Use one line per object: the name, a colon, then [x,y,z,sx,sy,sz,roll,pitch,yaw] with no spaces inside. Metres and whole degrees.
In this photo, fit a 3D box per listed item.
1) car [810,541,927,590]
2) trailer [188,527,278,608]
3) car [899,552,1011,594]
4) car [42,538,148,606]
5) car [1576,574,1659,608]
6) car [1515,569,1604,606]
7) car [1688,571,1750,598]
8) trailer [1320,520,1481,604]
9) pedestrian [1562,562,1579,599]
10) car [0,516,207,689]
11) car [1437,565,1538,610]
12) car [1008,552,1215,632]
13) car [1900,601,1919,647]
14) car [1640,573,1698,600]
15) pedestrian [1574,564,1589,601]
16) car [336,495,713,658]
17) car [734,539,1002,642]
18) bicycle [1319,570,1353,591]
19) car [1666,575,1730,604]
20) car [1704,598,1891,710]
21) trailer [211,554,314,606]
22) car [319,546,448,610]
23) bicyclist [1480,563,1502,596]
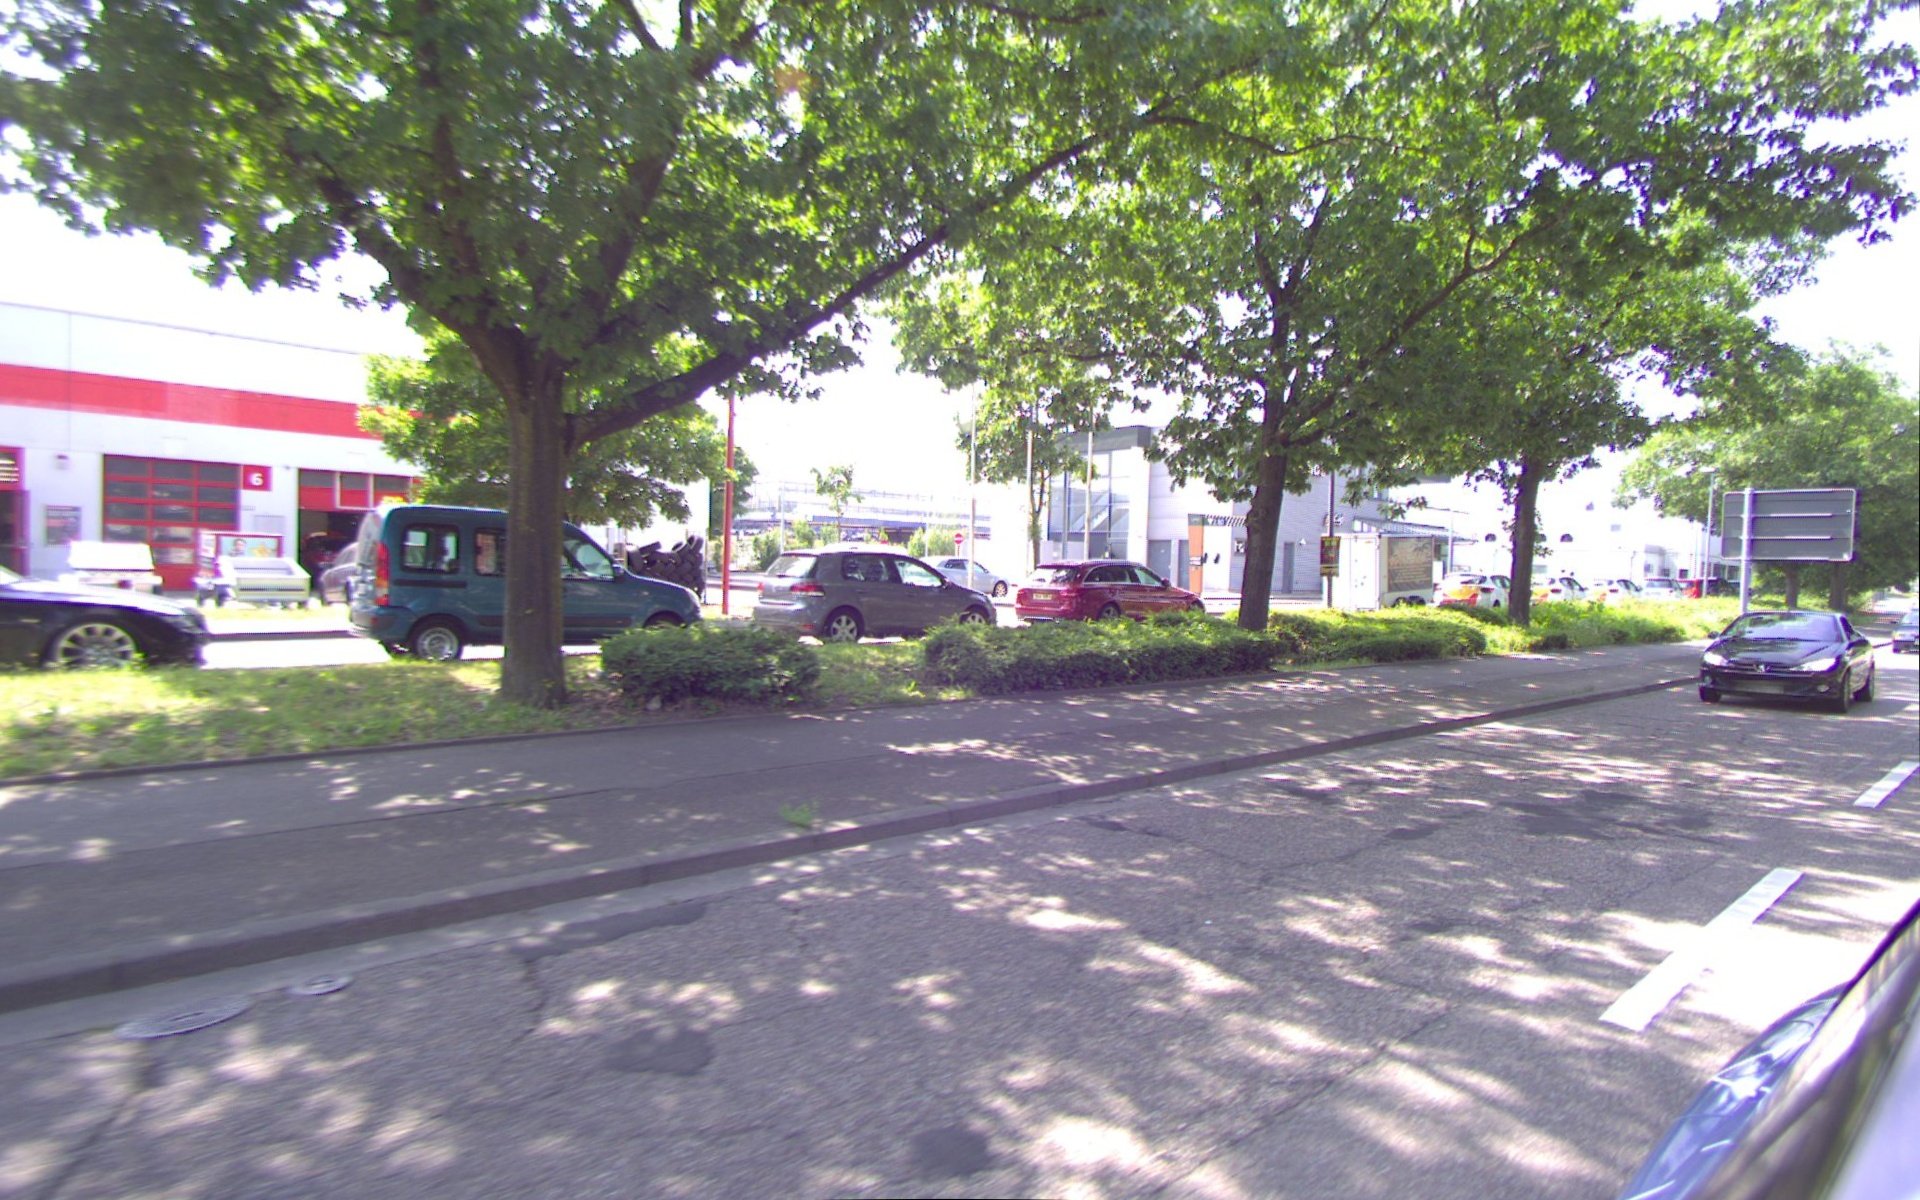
car: [-3.665,-1.367,40.892,4.551,1.827,1.713,0,3,-42]
trailer: [-15.680,-0.733,21.763,1.387,1.601,3.614,0,3,-39]
car: [-0.152,-0.929,34.846,3.710,1.356,1.586,0,3,-41]
car: [-17.006,-0.508,19.993,1.499,1.223,3.132,0,0,-39]
car: [26.248,-0.377,40.343,3.796,1.268,1.623,-1,2,-38]
car: [20.719,-0.455,34.940,3.674,1.172,1.596,-1,2,-42]
car: [37.512,-0.754,49.974,4.126,1.268,1.622,-1,1,-41]
trailer: [12.104,-0.978,27.622,5.384,2.080,1.705,0,2,-39]
pedestrian: [32.902,-1.060,54.552,0.402,1.944,0.582,0,2,-41]
car: [-9.231,-0.001,8.562,4.569,1.442,1.705,-1,2,-38]
car: [16.136,-0.411,30.894,3.569,1.268,1.621,-1,2,-43]
car: [3.051,-0.171,19.850,4.249,1.397,1.703,0,2,-42]
car: [29.730,0.768,30.658,1.706,1.341,3.895,0,-2,41]
car: [30.689,-0.600,43.808,2.808,1.136,1.509,-1,2,-43]
pedestrian: [33.220,-0.924,54.095,0.525,1.944,0.467,0,2,-41]
car: [-5.121,-0.298,12.154,3.837,1.657,1.704,-1,3,-41]
car: [-1.333,-0.160,15.589,3.838,1.397,1.703,0,2,-42]
bicycle: [18.560,-0.940,49.934,2.064,0.992,0.590,0,3,-40]
car: [33.882,-0.518,46.435,3.699,1.268,1.621,-1,2,-42]
car: [12.474,0.697,15.016,3.440,1.373,1.639,-1,2,-42]
trailer: [-13.431,-0.381,19.438,1.357,0.922,2.718,0,1,-40]
car: [-12.197,-0.499,21.312,1.727,1.197,3.811,0,3,-40]
bicyclist: [29.821,-1.158,56.869,0.849,1.826,0.779,0,3,-43]
